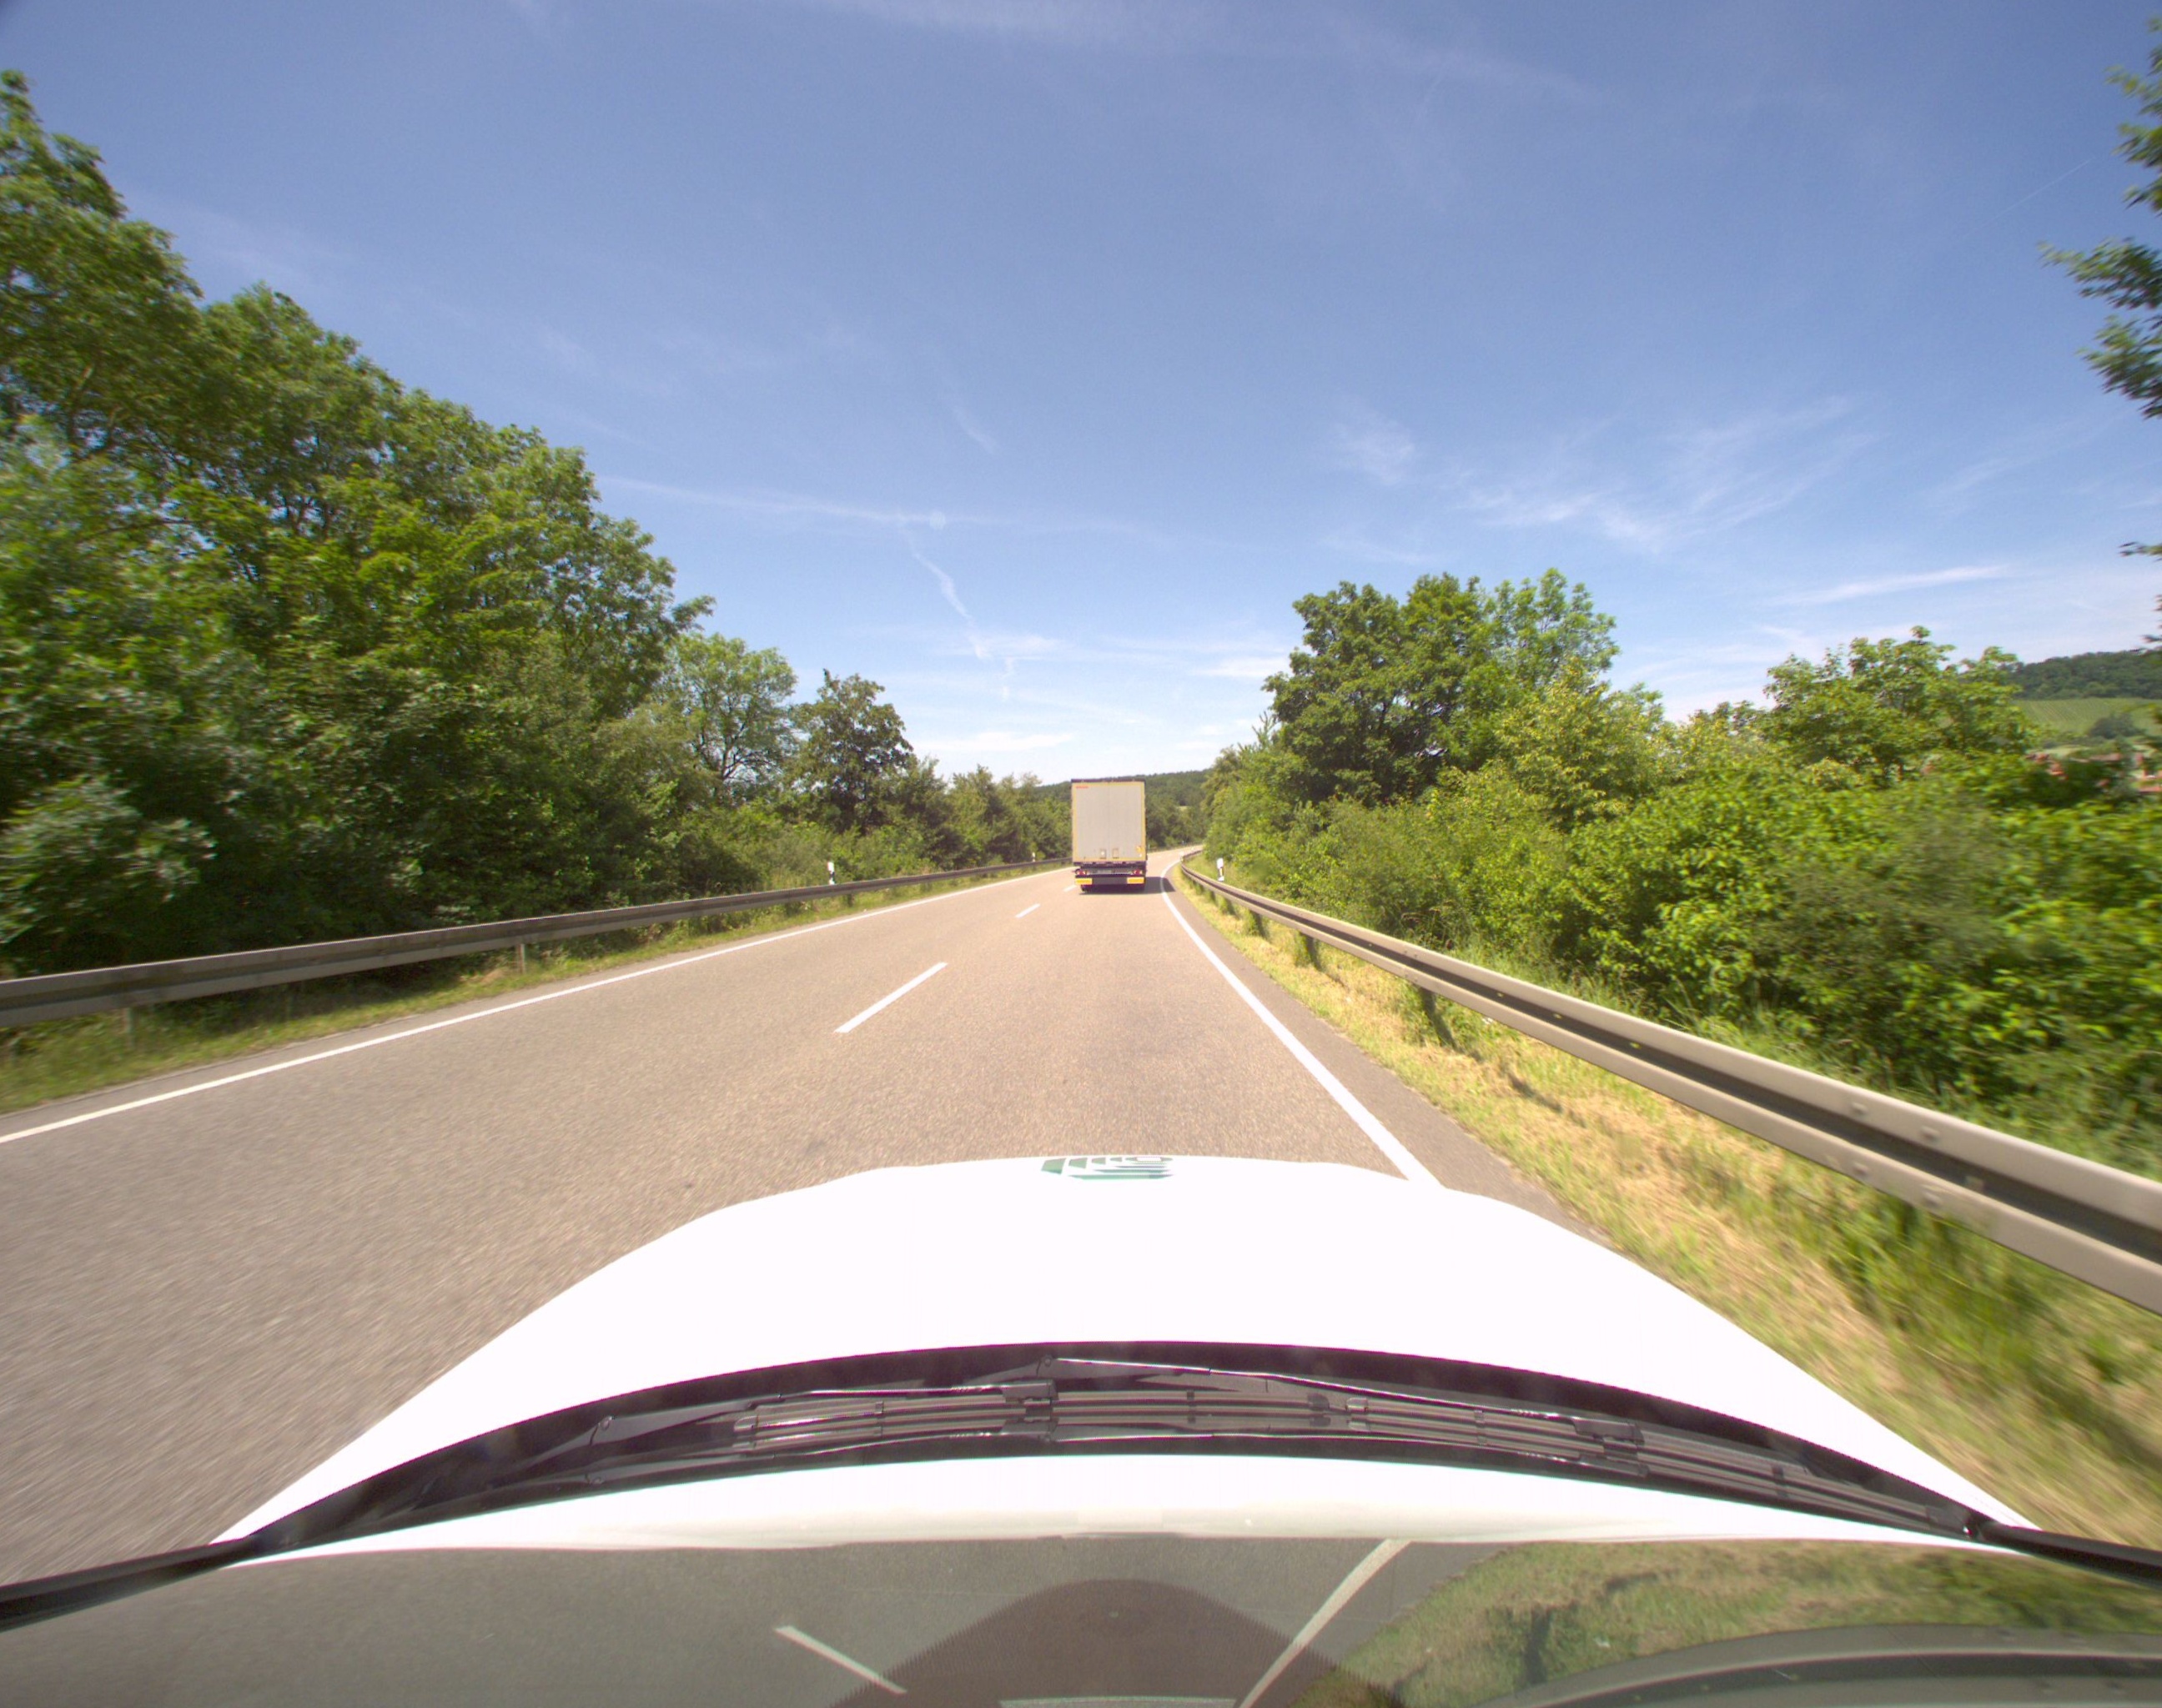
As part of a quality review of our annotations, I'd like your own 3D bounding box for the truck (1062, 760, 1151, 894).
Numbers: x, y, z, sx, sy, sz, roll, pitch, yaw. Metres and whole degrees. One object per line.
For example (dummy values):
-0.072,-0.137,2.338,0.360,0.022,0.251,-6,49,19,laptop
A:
1.384,-0.955,33.670,2.803,4.532,11.787,-1,0,6,truck
